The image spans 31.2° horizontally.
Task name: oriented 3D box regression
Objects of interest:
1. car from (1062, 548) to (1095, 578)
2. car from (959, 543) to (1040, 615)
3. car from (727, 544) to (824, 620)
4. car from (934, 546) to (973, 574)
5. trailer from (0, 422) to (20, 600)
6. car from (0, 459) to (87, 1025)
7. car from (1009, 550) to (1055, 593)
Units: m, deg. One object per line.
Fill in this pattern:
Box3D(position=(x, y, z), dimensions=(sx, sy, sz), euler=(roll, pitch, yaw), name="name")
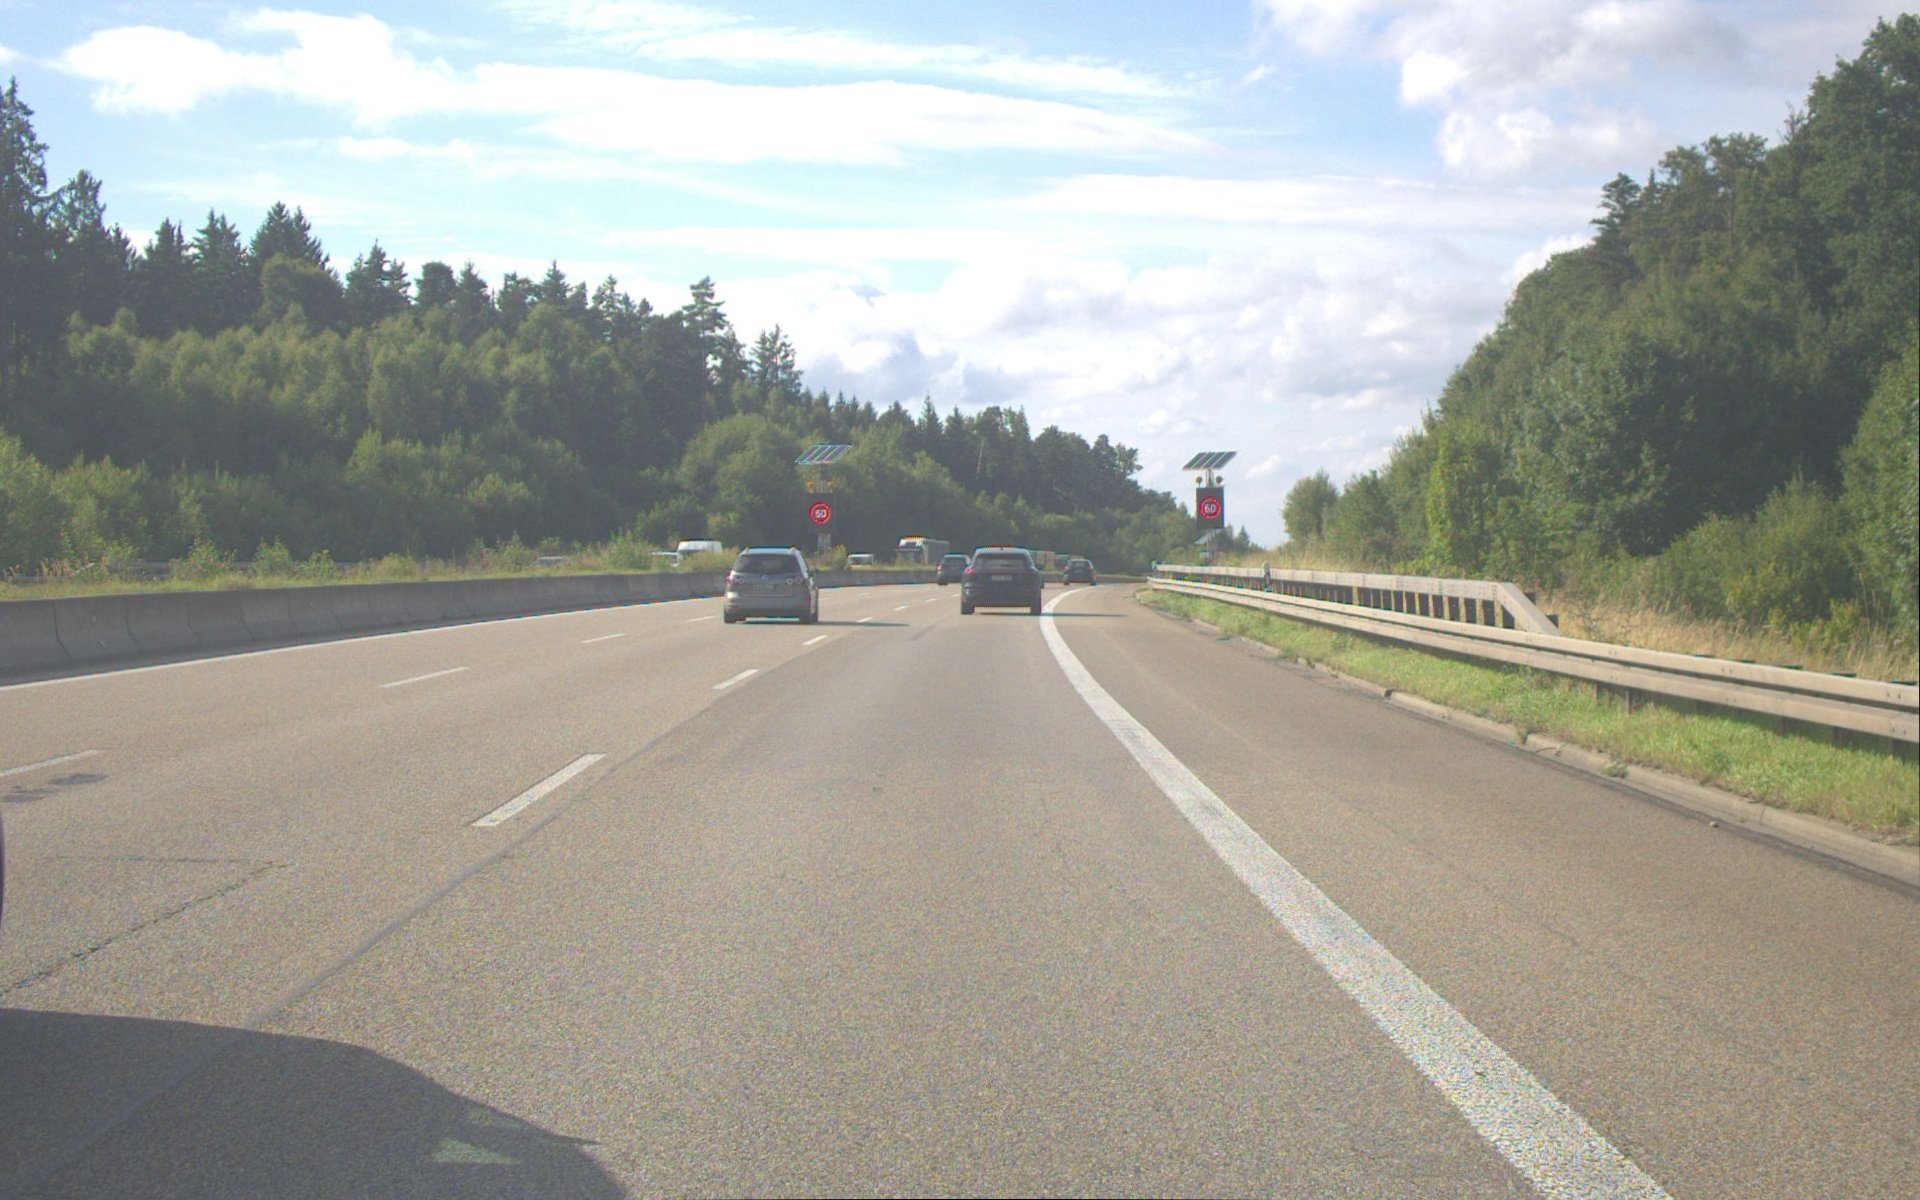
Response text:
Box3D(position=(6.867, -2.169, 198.945), dimensions=(1.812, 1.700, 4.000), euler=(0, 1, 3), name="car")
Box3D(position=(0.939, -0.521, 83.779), dimensions=(1.873, 1.669, 3.890), euler=(0, 1, -1), name="car")
Box3D(position=(-3.798, -0.397, 71.311), dimensions=(1.873, 1.492, 3.880), euler=(0, 1, -1), name="car")
Box3D(position=(-0.341, -2.194, 187.445), dimensions=(1.874, 1.492, 3.879), euler=(1, 1, 4), name="car")
Box3D(position=(-23.314, -1.933, 72.053), dimensions=(3.375, 3.995, 13.641), euler=(1, 1, 0), name="trailer")
Box3D(position=(-3.860, 0.447, 9.137), dimensions=(1.993, 1.701, 4.529), euler=(0, 1, -1), name="car")
Box3D(position=(3.472, -1.389, 166.517), dimensions=(1.993, 2.007, 4.000), euler=(1, 1, -2), name="car")
